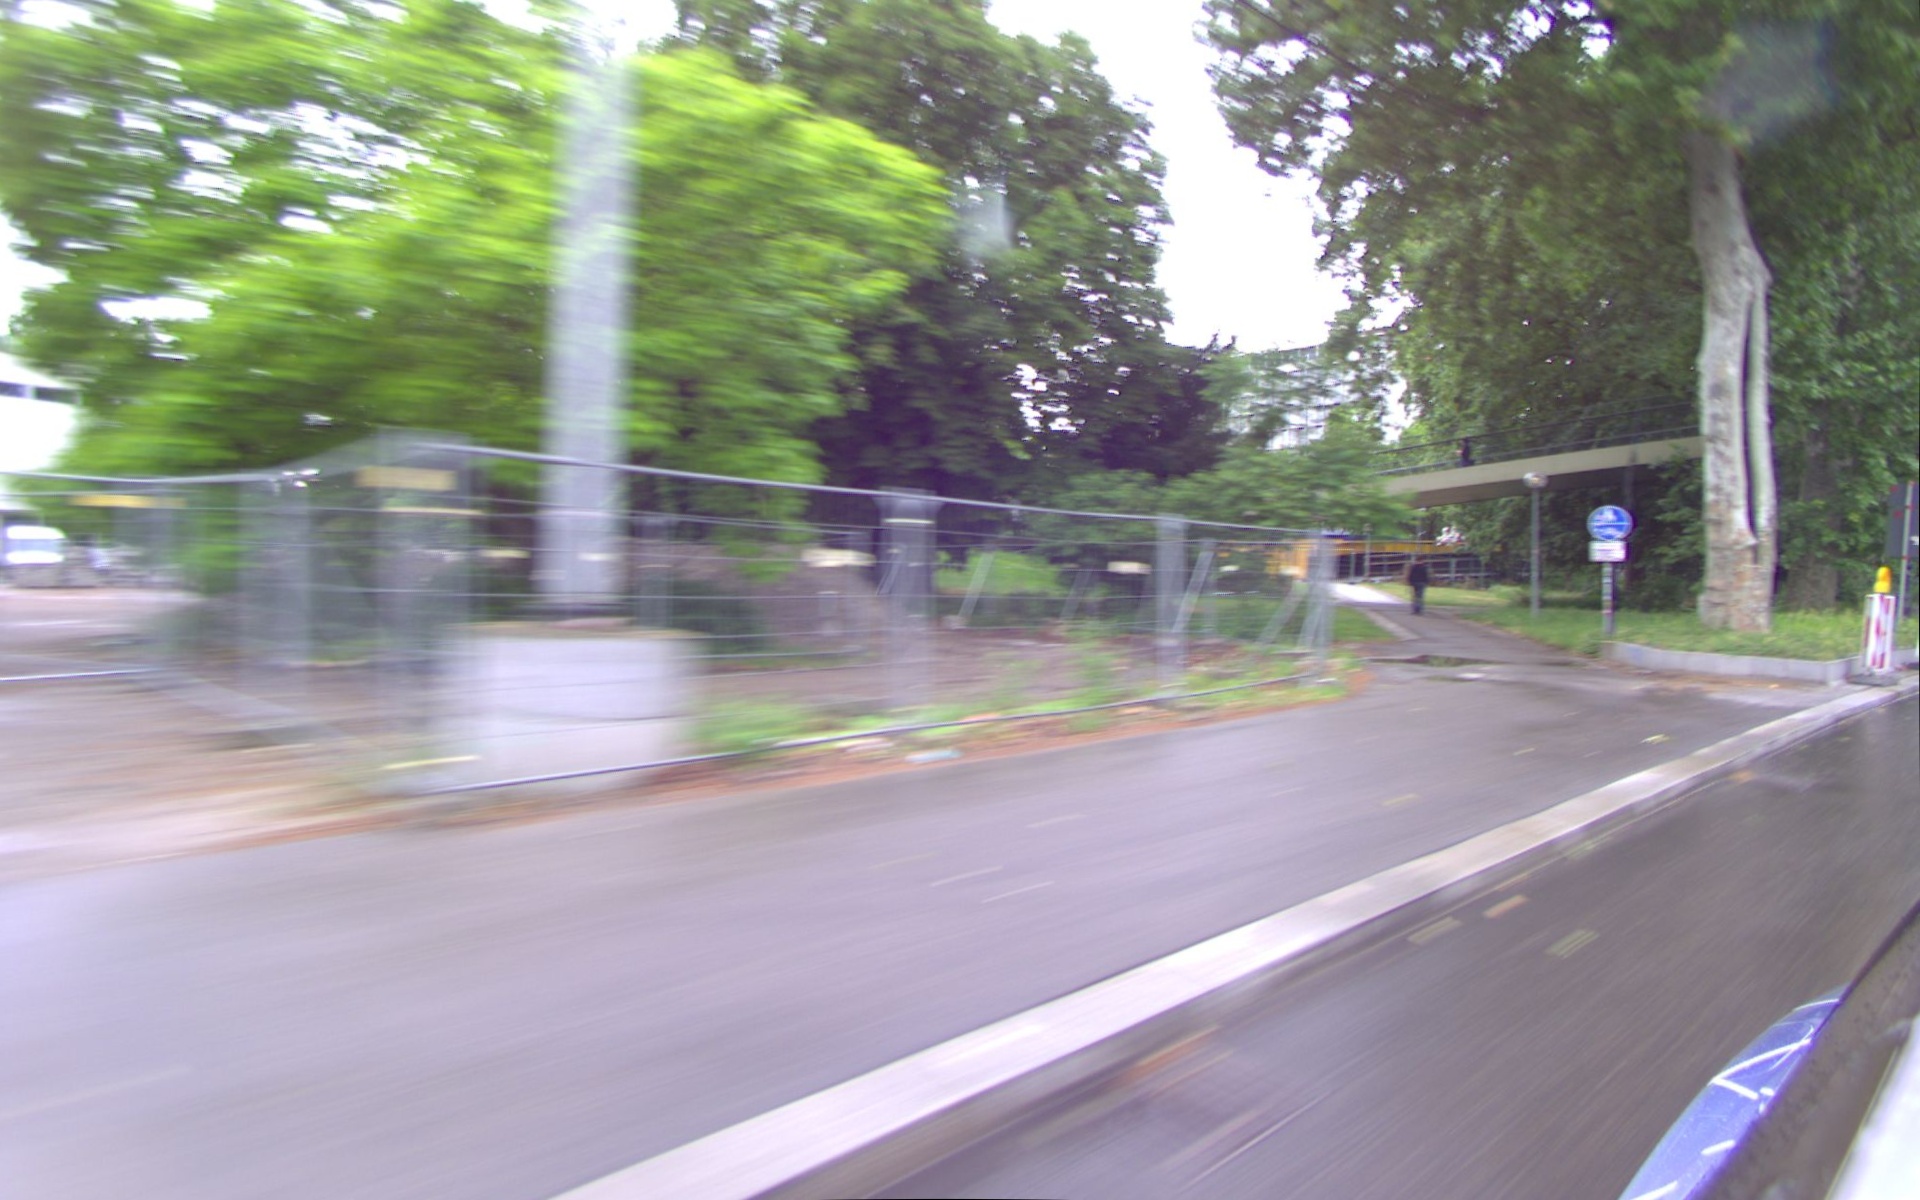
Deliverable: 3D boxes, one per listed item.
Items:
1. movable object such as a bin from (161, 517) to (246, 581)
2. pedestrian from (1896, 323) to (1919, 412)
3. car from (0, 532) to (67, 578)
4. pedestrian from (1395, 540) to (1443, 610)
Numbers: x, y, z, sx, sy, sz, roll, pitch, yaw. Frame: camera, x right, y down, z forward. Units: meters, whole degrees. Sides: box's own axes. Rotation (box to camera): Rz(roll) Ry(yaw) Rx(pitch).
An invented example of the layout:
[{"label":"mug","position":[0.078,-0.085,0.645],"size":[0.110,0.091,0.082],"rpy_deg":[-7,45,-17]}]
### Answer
[{"label":"movable object such as a bin","position":[-33.719,-2.289,45.050],"size":[2.455,2.677,4.567],"rpy_deg":[-3,4,-44]},{"label":"pedestrian","position":[24.398,-5.797,24.842],"size":[1.094,2.038,1.988],"rpy_deg":[-2,3,-43]},{"label":"car","position":[-43.299,-2.123,47.291],"size":[3.987,2.038,1.970],"rpy_deg":[3,4,43]},{"label":"pedestrian","position":[13.818,-0.758,30.481],"size":[1.035,2.038,1.036],"rpy_deg":[1,1,9]}]
